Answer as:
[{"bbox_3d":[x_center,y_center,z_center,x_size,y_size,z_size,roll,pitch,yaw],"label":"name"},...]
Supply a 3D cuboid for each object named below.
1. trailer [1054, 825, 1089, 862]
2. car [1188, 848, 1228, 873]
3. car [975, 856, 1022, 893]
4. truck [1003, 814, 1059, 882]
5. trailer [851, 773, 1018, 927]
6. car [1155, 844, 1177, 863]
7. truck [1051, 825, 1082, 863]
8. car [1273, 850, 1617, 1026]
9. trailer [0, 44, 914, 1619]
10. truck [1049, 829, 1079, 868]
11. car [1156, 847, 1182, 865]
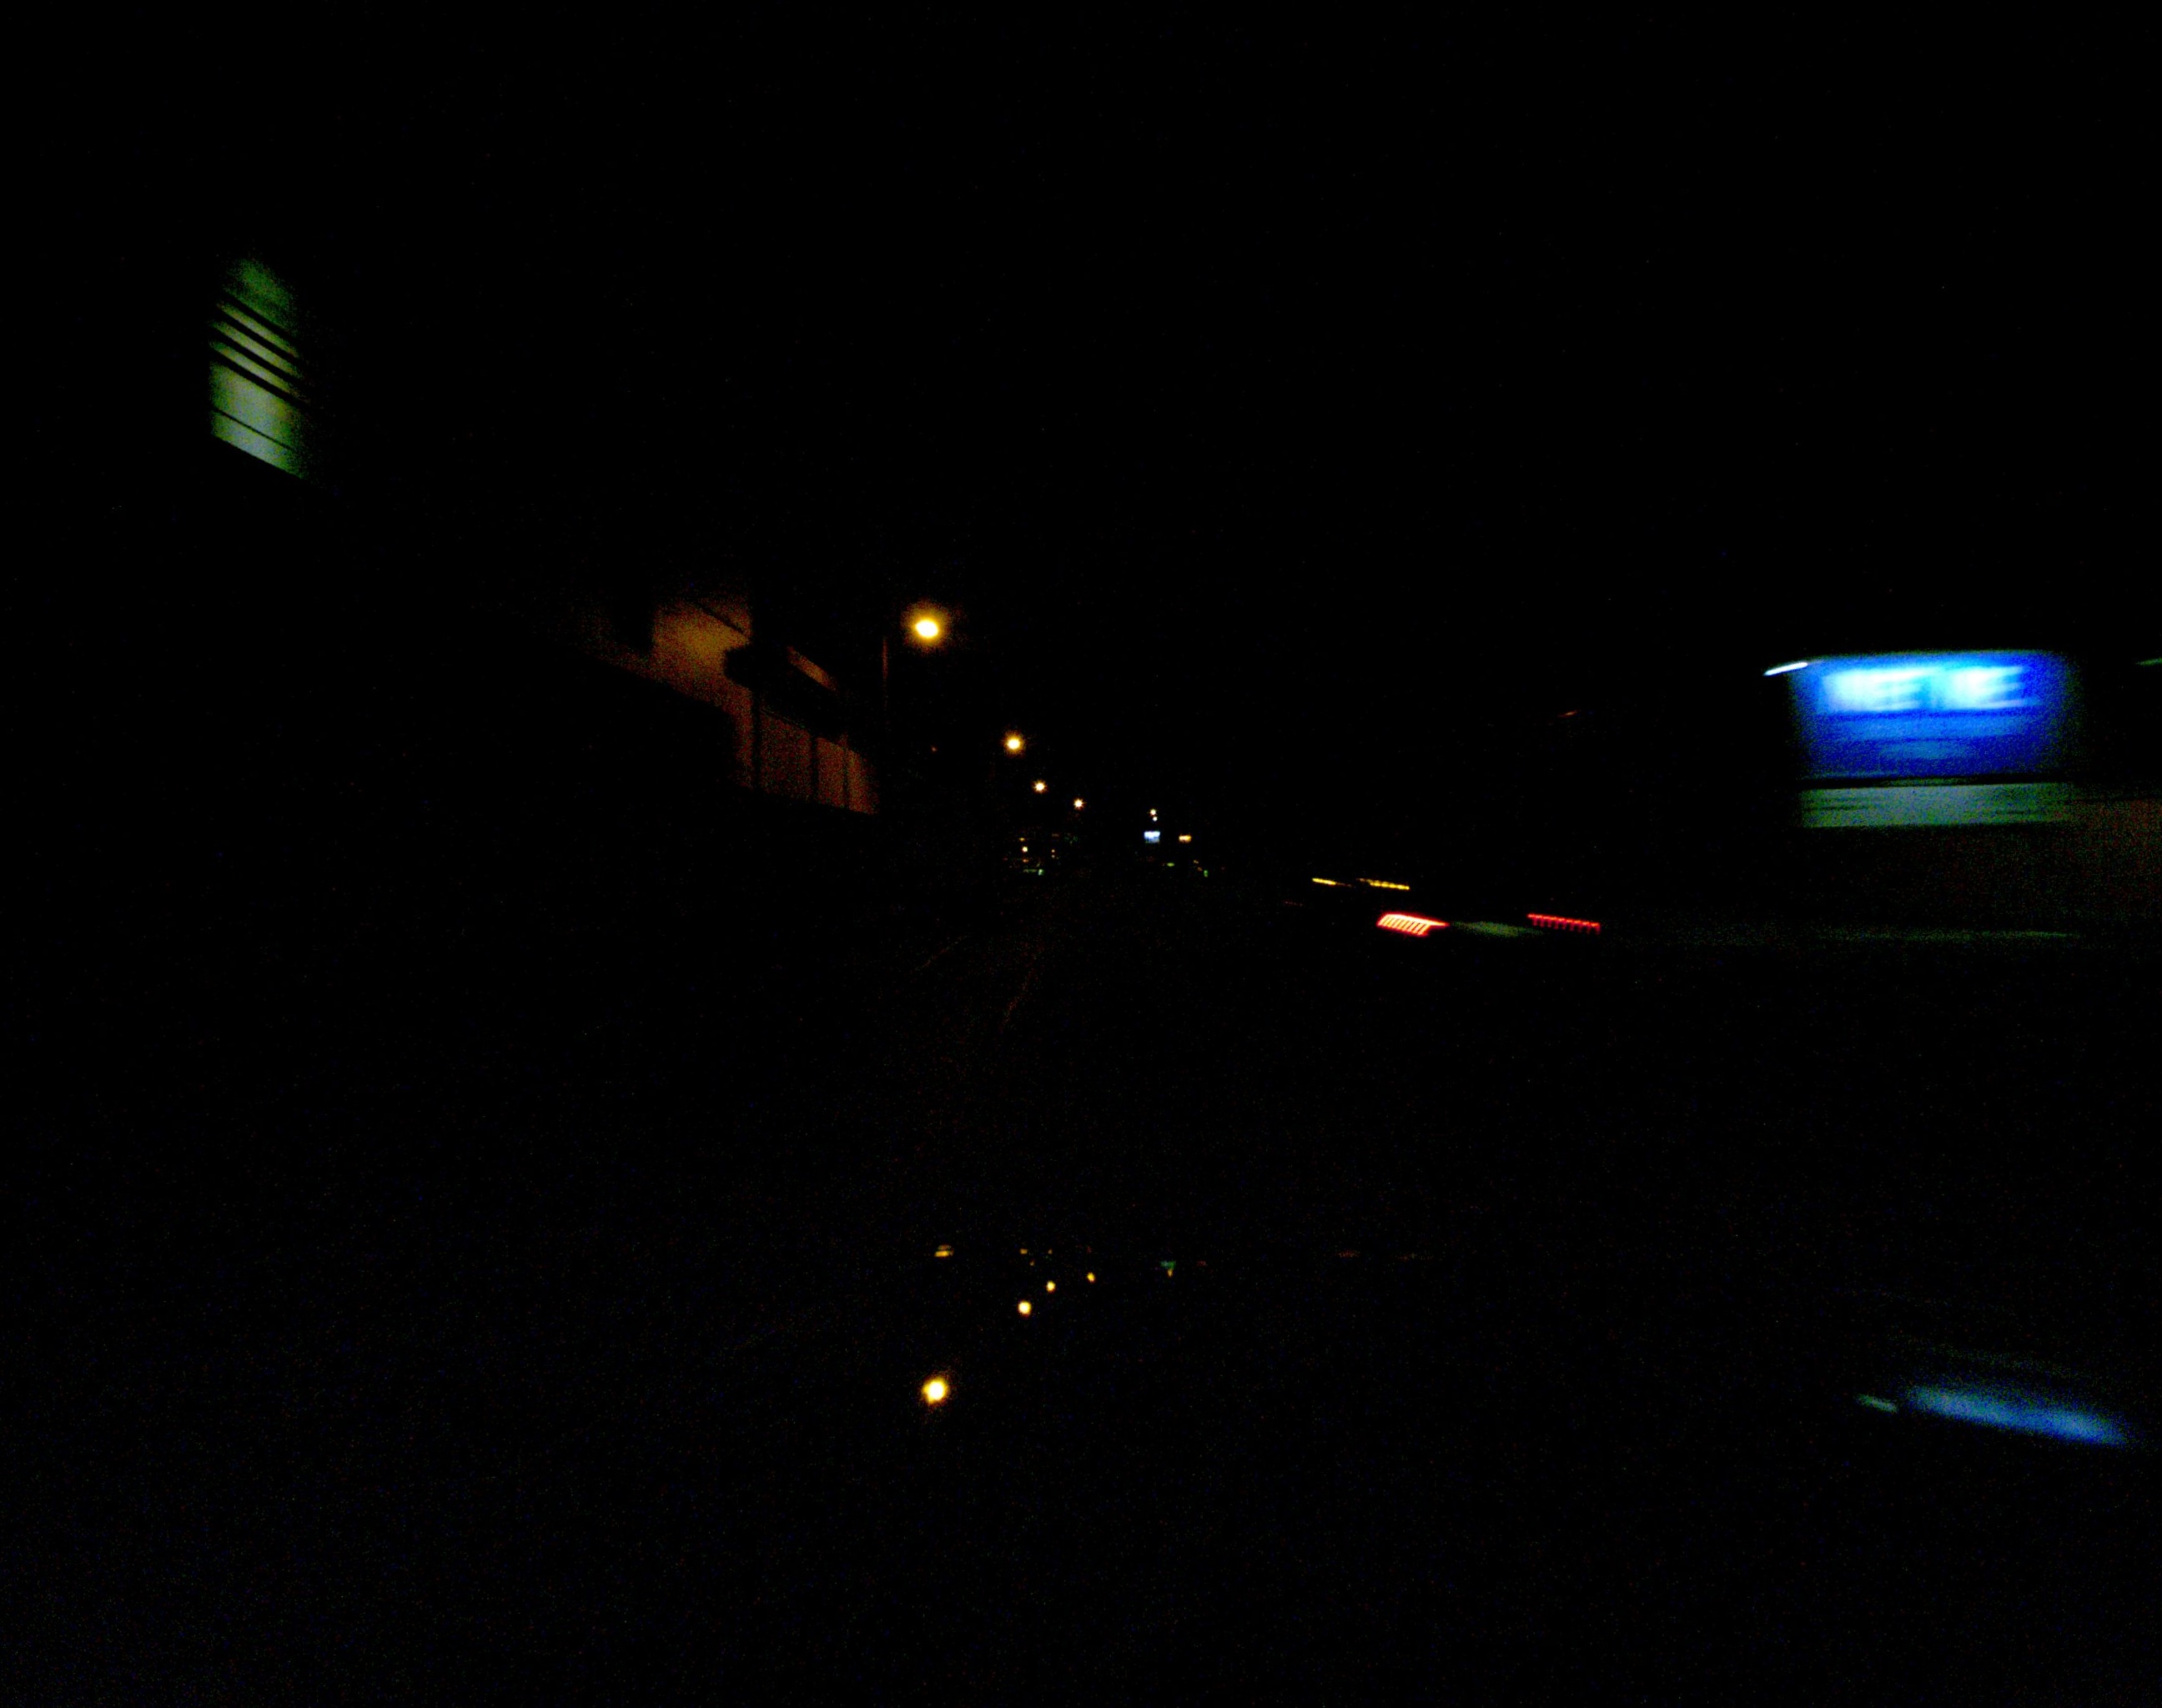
[{"bbox_3d":[-1.117,-1.431,101.188,3.072,4.449,13.413,-2,1,5],"label":"trailer"},{"bbox_3d":[7.319,0.338,44.222,1.761,1.382,4.309,-1,0,2],"label":"car"},{"bbox_3d":[-3.729,0.878,34.904,1.685,1.551,3.476,-1,0,1],"label":"car"},{"bbox_3d":[-3.129,-0.356,50.571,2.797,3.947,9.820,-3,0,1],"label":"truck"},{"bbox_3d":[-3.734,-0.110,21.709,2.885,3.504,8.283,-1,0,1],"label":"trailer"},{"bbox_3d":[7.599,-0.081,68.529,1.590,1.591,3.781,-3,1,1],"label":"car"},{"bbox_3d":[-1.748,-1.285,94.275,3.072,4.449,5.635,-2,1,5],"label":"truck"},{"bbox_3d":[3.584,0.691,8.525,1.824,1.429,4.398,-1,0,1],"label":"car"},{"bbox_3d":[-3.920,-0.070,3.008,2.772,3.742,14.654,-3,1,1],"label":"trailer"},{"bbox_3d":[-1.748,-0.522,83.227,2.660,3.851,10.233,-3,-1,1],"label":"truck"},{"bbox_3d":[7.262,0.144,62.893,1.690,1.357,3.879,-3,1,1],"label":"car"}]
